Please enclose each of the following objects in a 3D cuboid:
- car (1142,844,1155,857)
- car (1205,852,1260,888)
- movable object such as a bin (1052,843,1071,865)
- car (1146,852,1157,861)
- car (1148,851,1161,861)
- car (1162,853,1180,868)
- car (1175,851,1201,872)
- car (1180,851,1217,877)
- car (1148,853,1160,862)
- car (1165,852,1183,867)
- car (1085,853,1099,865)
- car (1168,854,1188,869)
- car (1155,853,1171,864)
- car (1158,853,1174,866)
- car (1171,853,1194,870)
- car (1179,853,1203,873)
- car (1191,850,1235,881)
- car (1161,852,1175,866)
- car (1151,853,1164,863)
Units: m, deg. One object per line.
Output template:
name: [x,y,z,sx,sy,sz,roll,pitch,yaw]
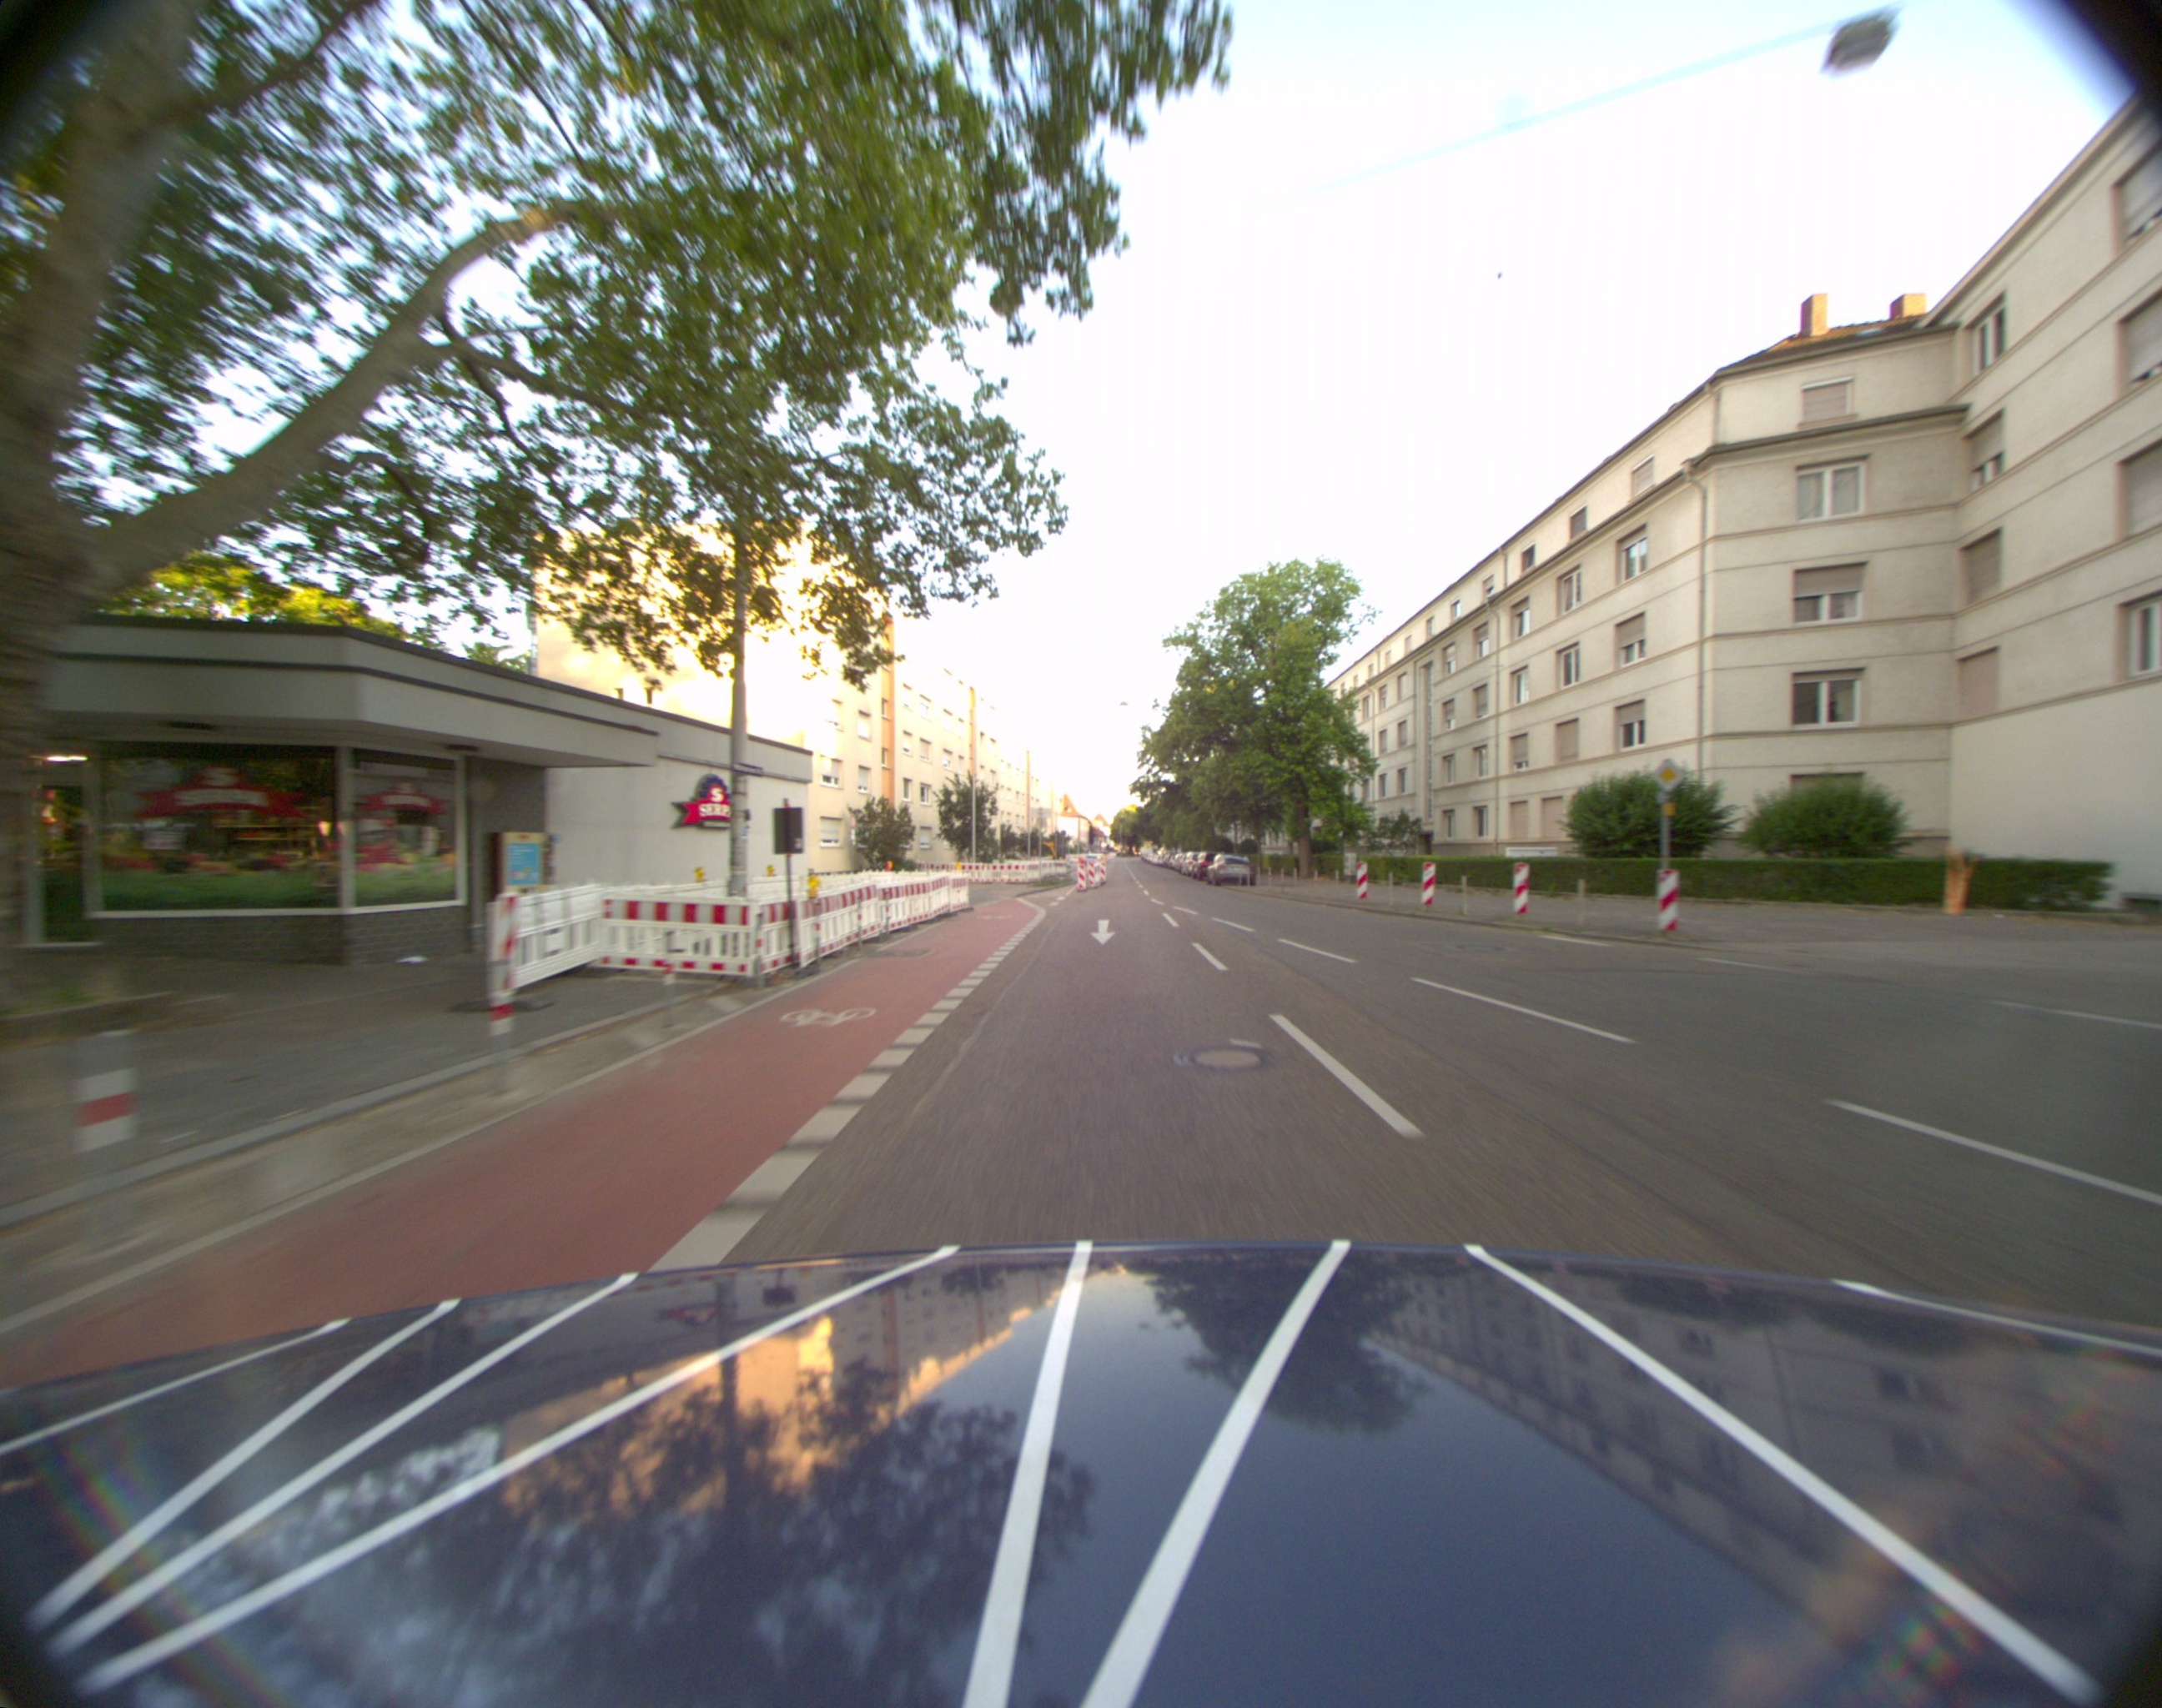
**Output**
car: [13.756,-0.656,155.539,2.184,2.447,6.104,3,1,3]
car: [7.448,0.748,37.784,1.958,1.607,4.605,2,0,3]
movable object such as a bin: [-2.317,-0.009,91.079,1.937,2.677,2.893,0,1,8]
car: [12.590,0.425,136.185,1.756,1.463,4.225,3,1,4]
car: [12.633,0.273,130.940,1.756,1.622,4.107,3,1,2]
car: [10.206,0.716,86.065,1.594,1.458,4.102,3,1,1]
car: [8.911,0.612,63.683,1.711,1.591,4.117,3,1,3]
car: [8.158,0.661,53.182,1.851,1.681,4.859,2,0,1]
car: [12.141,0.535,126.391,1.756,1.471,3.945,3,1,4]
car: [10.021,0.614,81.945,1.526,1.520,3.164,3,1,1]
car: [1.588,0.698,109.097,1.780,1.482,4.574,4,1,4]
car: [9.899,0.738,77.784,1.593,1.396,4.182,3,1,3]
car: [10.899,0.580,101.343,1.696,1.451,4.484,3,1,3]
car: [10.627,0.676,95.049,1.594,1.496,3.800,3,1,3]
car: [9.672,0.707,72.471,1.594,1.530,4.206,3,1,1]
car: [8.466,0.659,58.638,1.736,1.488,4.272,2,0,7]
car: [7.884,0.628,45.895,1.958,1.709,4.771,2,0,2]
car: [10.409,0.601,90.874,1.593,1.520,2.922,3,1,5]
car: [11.675,0.619,116.011,1.678,1.451,3.705,3,1,1]
